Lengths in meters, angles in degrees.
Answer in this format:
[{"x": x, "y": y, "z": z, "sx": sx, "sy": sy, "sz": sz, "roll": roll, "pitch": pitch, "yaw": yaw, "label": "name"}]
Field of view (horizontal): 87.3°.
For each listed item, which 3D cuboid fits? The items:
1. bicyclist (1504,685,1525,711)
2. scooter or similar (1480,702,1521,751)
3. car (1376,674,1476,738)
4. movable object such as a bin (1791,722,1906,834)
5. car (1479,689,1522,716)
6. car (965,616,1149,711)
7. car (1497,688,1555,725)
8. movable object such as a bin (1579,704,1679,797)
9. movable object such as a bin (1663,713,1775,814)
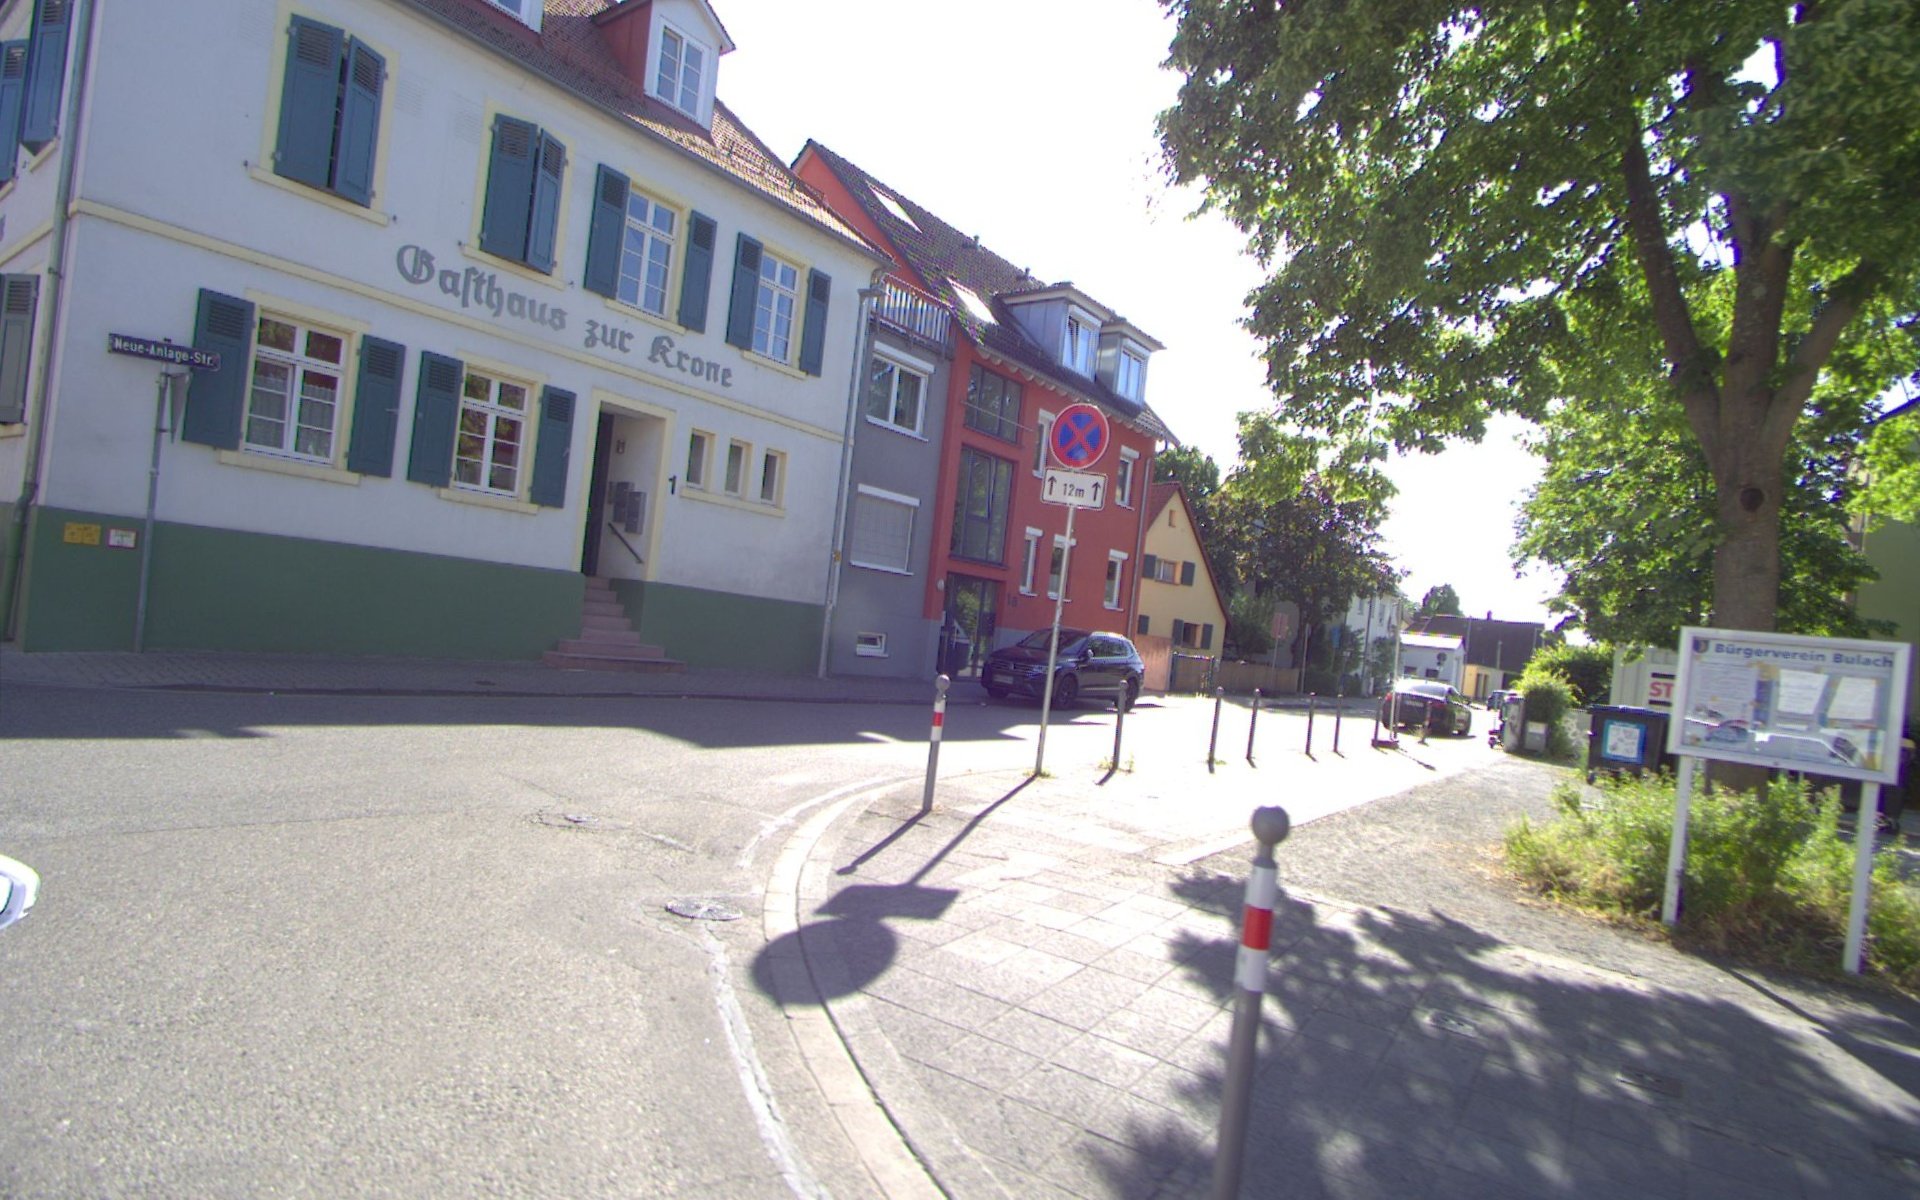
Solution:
[{"x": 29.619, "y": 5.224, "z": 53.738, "sx": 0.711, "sy": 1.283, "sz": 0.833, "roll": 9, "pitch": 1, "yaw": 36, "label": "bicyclist"}, {"x": 12.985, "y": 3.044, "z": 24.162, "sx": 0.499, "sy": 1.055, "sz": 1.636, "roll": 6, "pitch": -4, "yaw": 39, "label": "scooter or similar"}, {"x": 13.698, "y": 3.087, "z": 29.451, "sx": 1.765, "sy": 1.492, "sz": 4.123, "roll": 7, "pitch": -1, "yaw": 36, "label": "car"}, {"x": 12.617, "y": 2.512, "z": 14.294, "sx": 1.091, "sy": 1.355, "sz": 0.968, "roll": 5, "pitch": -4, "yaw": 44, "label": "movable object such as a bin"}, {"x": 33.727, "y": 6.381, "z": 62.735, "sx": 1.765, "sy": 1.374, "sz": 4.123, "roll": 7, "pitch": -1, "yaw": 36, "label": "car"}, {"x": 2.177, "y": 1.403, "z": 21.434, "sx": 1.927, "sy": 1.703, "sz": 4.263, "roll": 3, "pitch": -3, "yaw": 36, "label": "car"}, {"x": 26.117, "y": 4.882, "z": 46.361, "sx": 1.765, "sy": 1.374, "sz": 4.123, "roll": 7, "pitch": -1, "yaw": 36, "label": "car"}, {"x": 10.676, "y": 2.378, "z": 16.051, "sx": 1.091, "sy": 1.270, "sz": 0.967, "roll": 5, "pitch": -1, "yaw": 44, "label": "movable object such as a bin"}, {"x": 11.194, "y": 2.405, "z": 14.838, "sx": 1.133, "sy": 1.272, "sz": 0.968, "roll": 5, "pitch": -4, "yaw": 44, "label": "movable object such as a bin"}]
